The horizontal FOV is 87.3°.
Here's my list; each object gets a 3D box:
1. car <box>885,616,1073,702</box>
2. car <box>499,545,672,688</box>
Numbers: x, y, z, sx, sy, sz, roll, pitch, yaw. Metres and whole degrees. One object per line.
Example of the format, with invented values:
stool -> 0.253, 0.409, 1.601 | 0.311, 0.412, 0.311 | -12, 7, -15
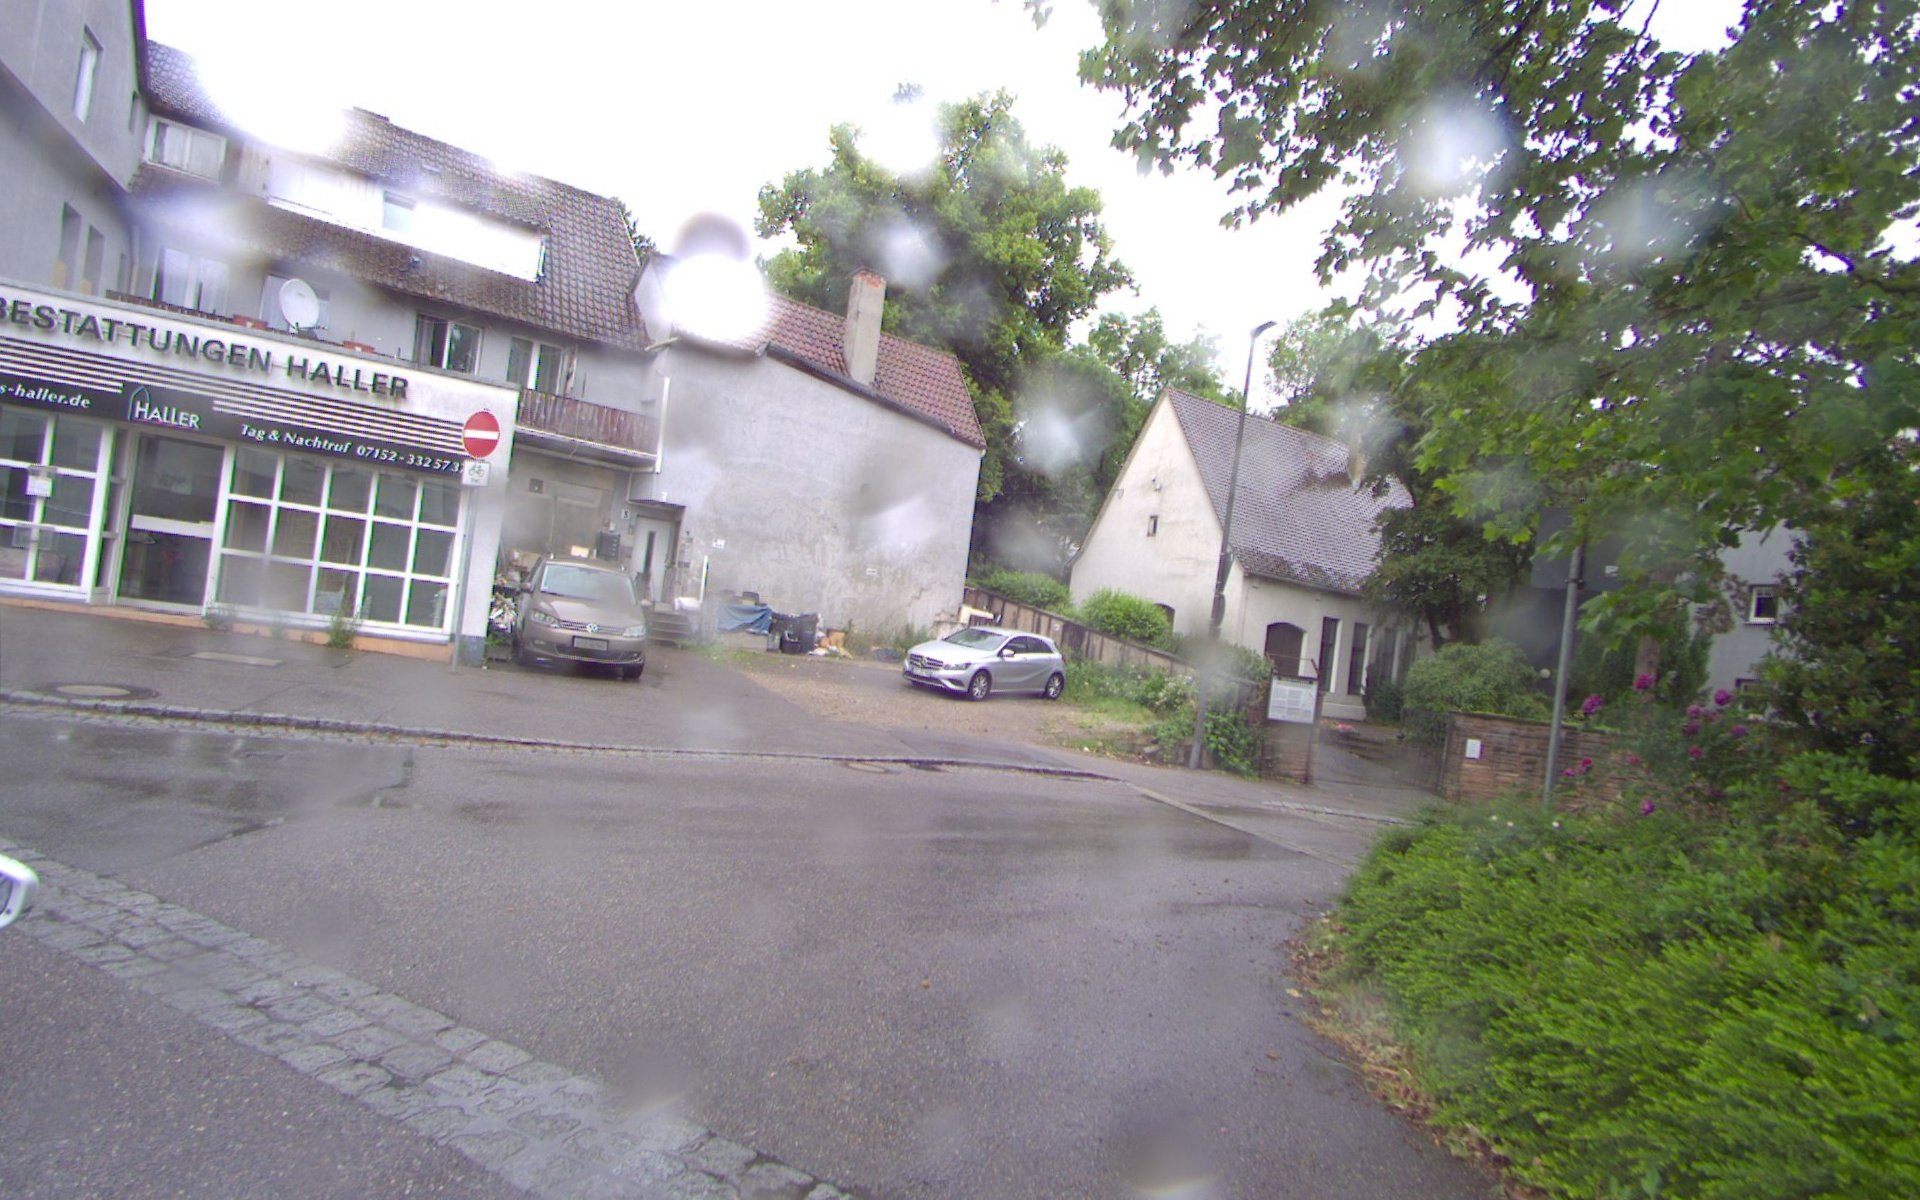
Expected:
car -> 0.494, 1.294, 21.377 | 1.717, 1.406, 4.022 | 10, 2, 40
car -> -6.298, 0.164, 16.545 | 1.908, 1.749, 4.634 | 8, 0, -28
